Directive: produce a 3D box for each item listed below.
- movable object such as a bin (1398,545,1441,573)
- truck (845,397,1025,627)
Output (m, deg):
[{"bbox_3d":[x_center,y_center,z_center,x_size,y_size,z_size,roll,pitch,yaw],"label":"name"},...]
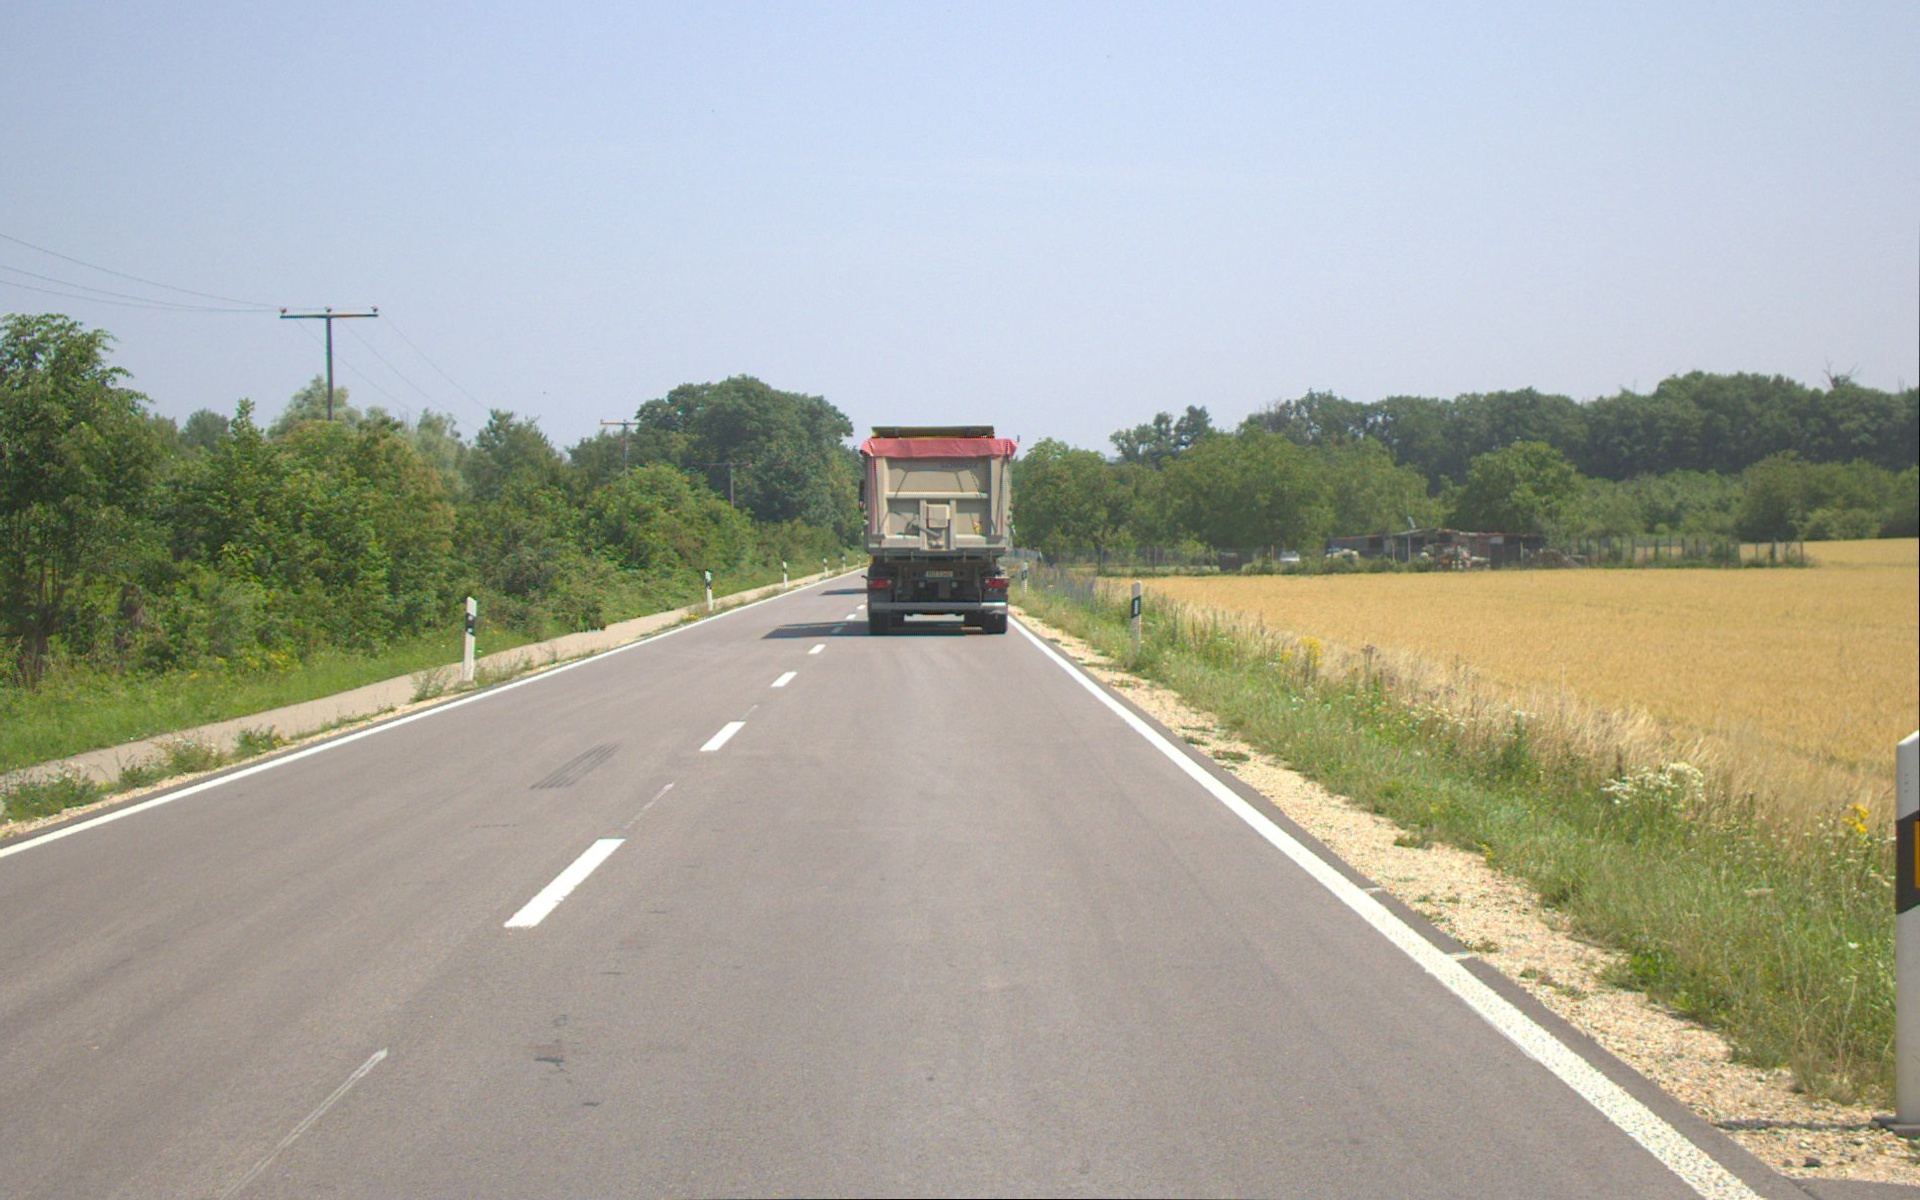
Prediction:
[{"bbox_3d":[24.904,-2.241,186.336,1.570,1.491,3.659,-1,1,-5],"label":"movable object such as a bin"},{"bbox_3d":[-0.488,-1.563,64.747,3.009,3.861,12.210,1,1,-1],"label":"truck"}]
